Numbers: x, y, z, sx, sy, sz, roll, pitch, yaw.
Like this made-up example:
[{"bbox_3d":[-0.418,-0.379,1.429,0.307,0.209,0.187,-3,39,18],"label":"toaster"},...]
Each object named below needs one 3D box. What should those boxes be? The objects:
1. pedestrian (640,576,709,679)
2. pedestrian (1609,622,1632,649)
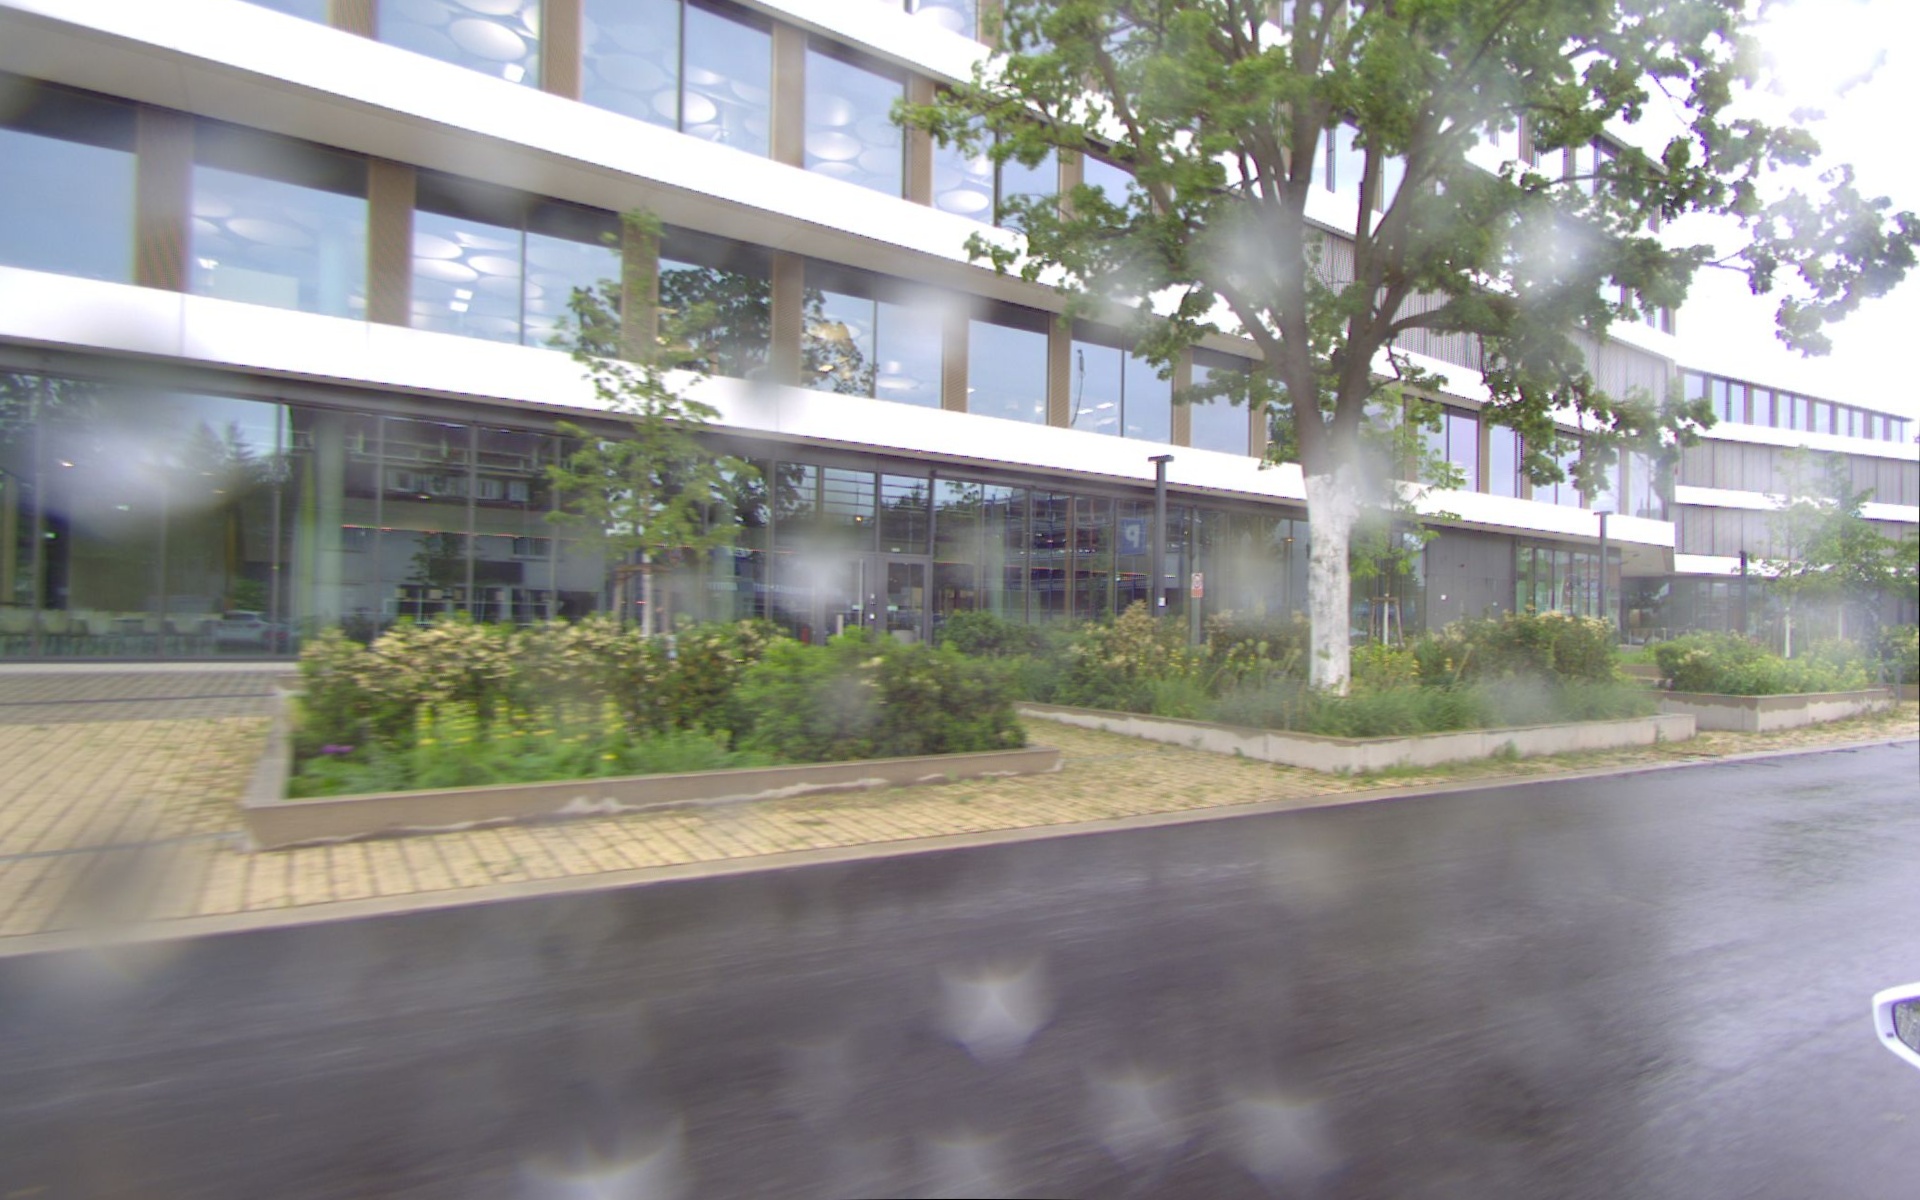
[{"bbox_3d":[-5.019,0.480,17.640,0.945,1.726,0.721,3,2,-29],"label":"pedestrian"},{"bbox_3d":[34.720,1.874,52.827,0.883,1.332,1.059,5,2,31],"label":"pedestrian"}]
